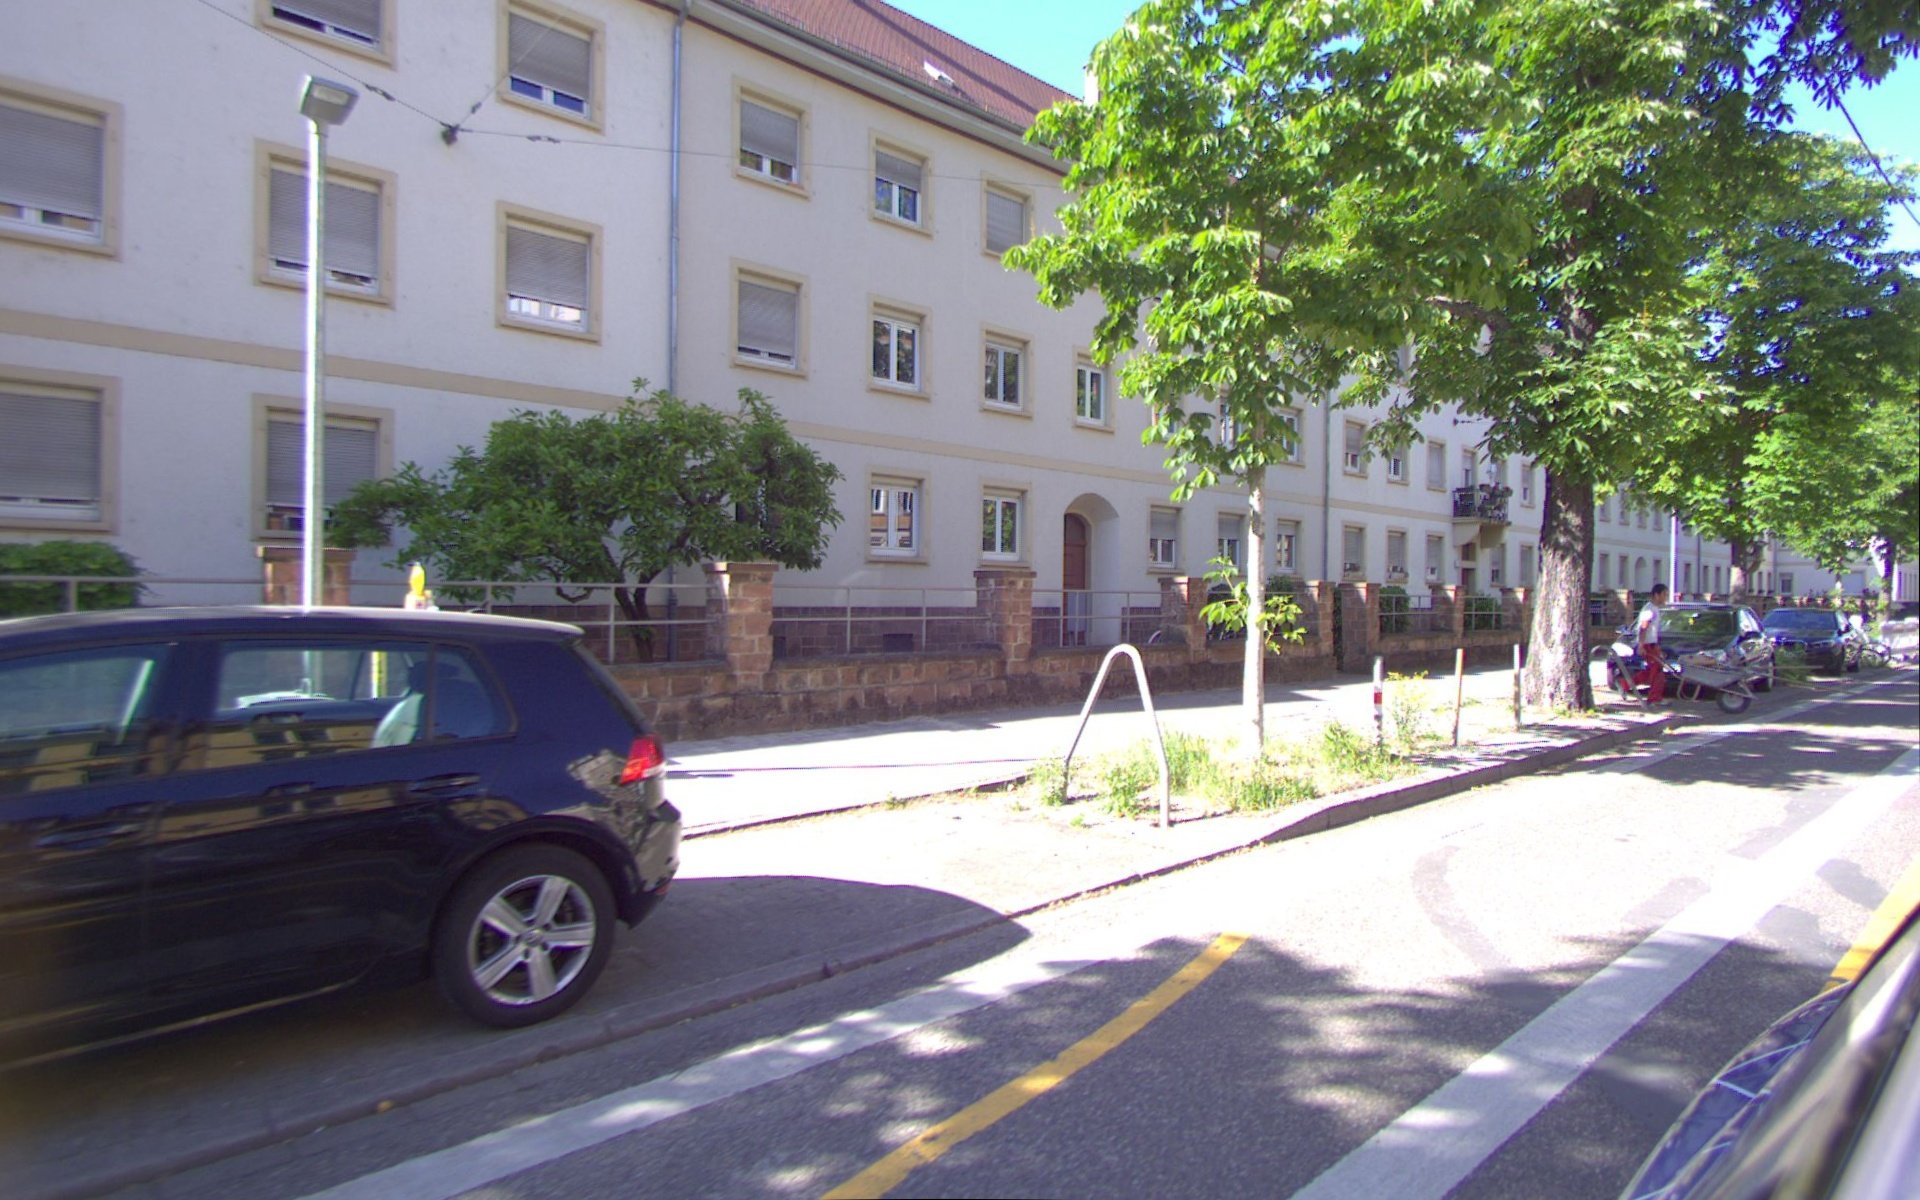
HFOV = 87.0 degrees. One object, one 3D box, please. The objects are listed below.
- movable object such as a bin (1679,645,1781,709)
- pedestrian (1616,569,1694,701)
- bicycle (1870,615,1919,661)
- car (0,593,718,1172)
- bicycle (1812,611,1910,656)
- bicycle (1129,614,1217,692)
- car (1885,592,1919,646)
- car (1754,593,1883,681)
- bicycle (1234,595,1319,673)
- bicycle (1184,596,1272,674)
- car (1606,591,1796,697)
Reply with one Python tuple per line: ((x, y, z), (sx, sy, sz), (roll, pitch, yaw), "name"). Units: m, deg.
((10.627, 1.050, 13.995), (0.912, 0.752, 0.663), (3, 3, 19), "movable object such as a bin")
((9.840, 0.465, 14.358), (0.593, 1.792, 0.908), (3, 2, 19), "pedestrian")
((22.986, 0.902, 24.189), (0.426, 1.092, 1.765), (0, -1, -39), "bicycle")
((-3.025, 0.727, 3.334), (3.974, 1.482, 1.790), (0, 1, -41), "car")
((22.585, 0.828, 25.389), (0.426, 1.092, 1.765), (0, -1, -39), "bicycle")
((3.647, 0.873, 17.261), (1.711, 1.236, 0.544), (0, 1, -41), "bicycle")
((33.684, 0.638, 35.207), (4.400, 1.788, 1.746), (0, -1, -42), "car")
((19.262, 0.749, 22.656), (4.158, 1.783, 1.668), (0, 0, -42), "car")
((5.318, 0.549, 16.963), (1.711, 1.236, 0.544), (0, 1, -41), "bicycle")
((4.515, 0.558, 16.984), (1.711, 1.236, 0.544), (0, 1, -41), "bicycle")
((12.288, 0.629, 16.685), (4.173, 1.492, 1.722), (0, 1, -42), "car")
